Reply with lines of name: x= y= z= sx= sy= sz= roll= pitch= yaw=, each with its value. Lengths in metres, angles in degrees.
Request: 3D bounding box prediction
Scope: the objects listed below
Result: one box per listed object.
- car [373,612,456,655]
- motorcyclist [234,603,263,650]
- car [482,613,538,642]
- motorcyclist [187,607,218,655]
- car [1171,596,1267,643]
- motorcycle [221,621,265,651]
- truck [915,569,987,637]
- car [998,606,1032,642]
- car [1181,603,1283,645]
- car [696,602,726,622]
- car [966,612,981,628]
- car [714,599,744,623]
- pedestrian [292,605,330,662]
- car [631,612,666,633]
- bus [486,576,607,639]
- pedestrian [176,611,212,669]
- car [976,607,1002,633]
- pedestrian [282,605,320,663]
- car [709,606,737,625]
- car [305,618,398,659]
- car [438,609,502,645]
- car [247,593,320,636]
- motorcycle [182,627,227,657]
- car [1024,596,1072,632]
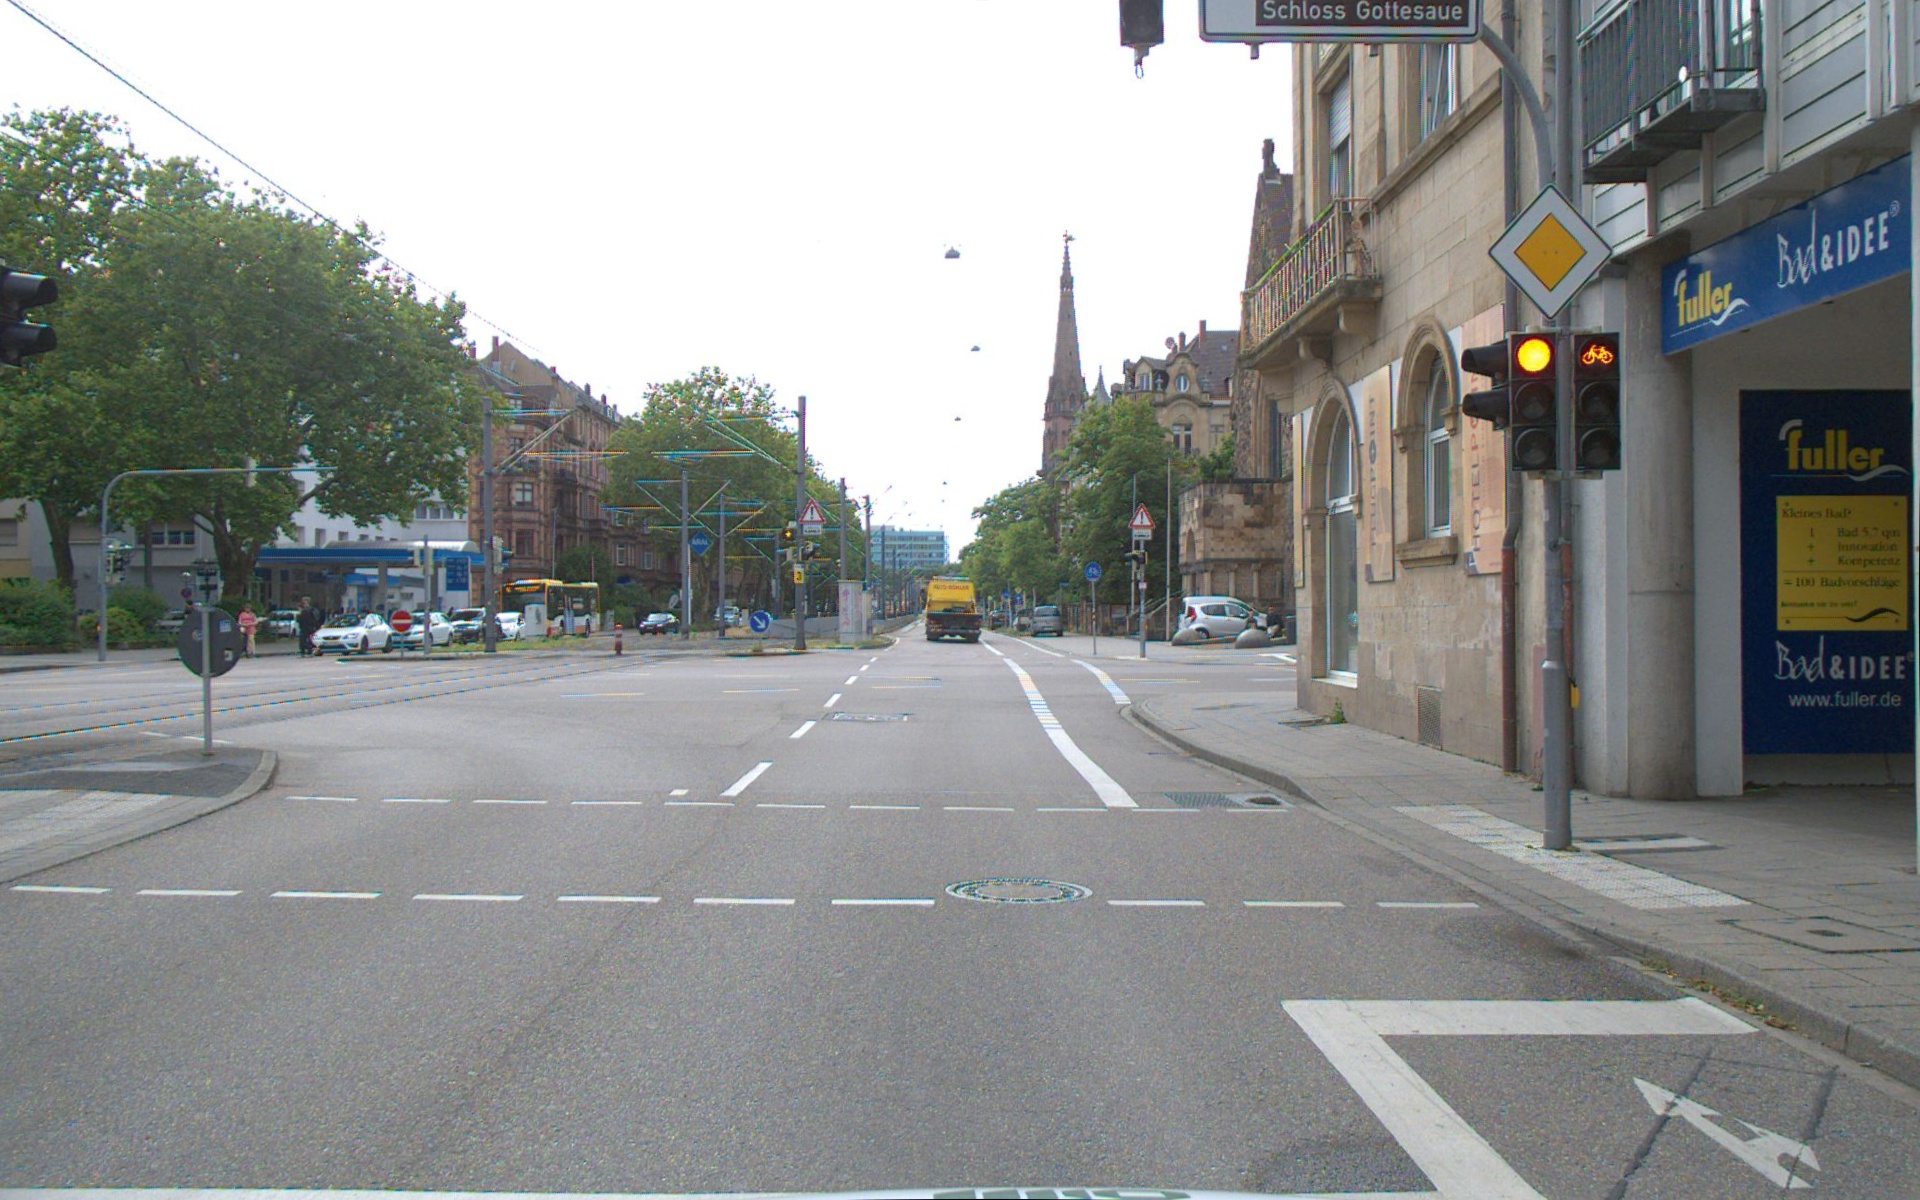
car: x=-21.423 y=1.290 z=65.123 sx=1.953 sy=1.622 sz=3.999 roll=1 pitch=0 yaw=-1
motorcyclist: x=-23.659 y=0.861 z=55.002 sx=0.607 sy=1.546 sz=0.873 roll=0 pitch=0 yaw=-1
car: x=-21.380 y=1.287 z=78.695 sx=1.622 sy=1.344 sz=3.638 roll=1 pitch=0 yaw=1
motorcyclist: x=-24.677 y=0.997 z=53.902 sx=0.607 sy=1.546 sz=0.873 roll=0 pitch=0 yaw=-1
car: x=10.691 y=0.797 z=68.553 sx=3.638 sy=1.888 sz=2.000 roll=1 pitch=0 yaw=-1
motorcycle: x=-23.690 y=1.171 z=54.667 sx=0.594 sy=0.945 sz=1.951 roll=0 pitch=0 yaw=0
truck: x=-0.516 y=0.121 z=73.917 sx=2.993 sy=2.817 sz=9.812 roll=0 pitch=0 yaw=-2
car: x=3.287 y=1.421 z=99.652 sx=1.952 sy=2.049 sz=4.000 roll=1 pitch=0 yaw=1
car: x=10.674 y=0.928 z=65.093 sx=3.638 sy=1.591 sz=2.000 roll=1 pitch=0 yaw=-1
car: x=-21.226 y=1.024 z=141.177 sx=1.953 sy=1.639 sz=3.999 roll=1 pitch=0 yaw=-1
car: x=1.761 y=2.658 z=216.820 sx=1.953 sy=2.049 sz=3.999 roll=1 pitch=0 yaw=-1
car: x=-19.704 y=0.942 z=141.252 sx=1.953 sy=2.049 sz=3.999 roll=1 pitch=0 yaw=-1
pedestrian: x=-20.151 y=1.036 z=51.367 sx=0.853 sy=1.743 sz=0.875 roll=0 pitch=0 yaw=-1
car: x=-21.483 y=1.529 z=114.137 sx=1.622 sy=1.344 sz=3.638 roll=1 pitch=0 yaw=1
bus: x=-21.967 y=0.420 z=88.749 sx=3.164 sy=3.088 sz=12.312 roll=1 pitch=0 yaw=1
pedestrian: x=-23.040 y=1.193 z=49.743 sx=0.669 sy=1.720 sz=0.742 roll=1 pitch=-1 yaw=4
car: x=2.372 y=1.627 z=136.153 sx=1.953 sy=2.049 sz=3.999 roll=1 pitch=0 yaw=-1
pedestrian: x=-20.145 y=1.034 z=50.565 sx=0.849 sy=1.743 sz=0.691 roll=0 pitch=0 yaw=3
car: x=-21.338 y=1.375 z=148.946 sx=1.953 sy=1.639 sz=3.999 roll=1 pitch=0 yaw=-1
car: x=-21.439 y=1.334 z=58.416 sx=1.711 sy=1.344 sz=4.075 roll=1 pitch=0 yaw=1
car: x=-21.223 y=1.142 z=71.776 sx=1.622 sy=1.504 sz=3.638 roll=1 pitch=0 yaw=1
car: x=-32.858 y=0.695 z=80.405 sx=1.953 sy=2.049 sz=3.999 roll=0 pitch=0 yaw=-1
motorcycle: x=-24.679 y=1.373 z=54.073 sx=0.594 sy=0.945 sz=1.951 roll=0 pitch=0 yaw=0
car: x=4.814 y=0.772 z=90.043 sx=1.951 sy=1.888 sz=4.030 roll=1 pitch=0 yaw=12
